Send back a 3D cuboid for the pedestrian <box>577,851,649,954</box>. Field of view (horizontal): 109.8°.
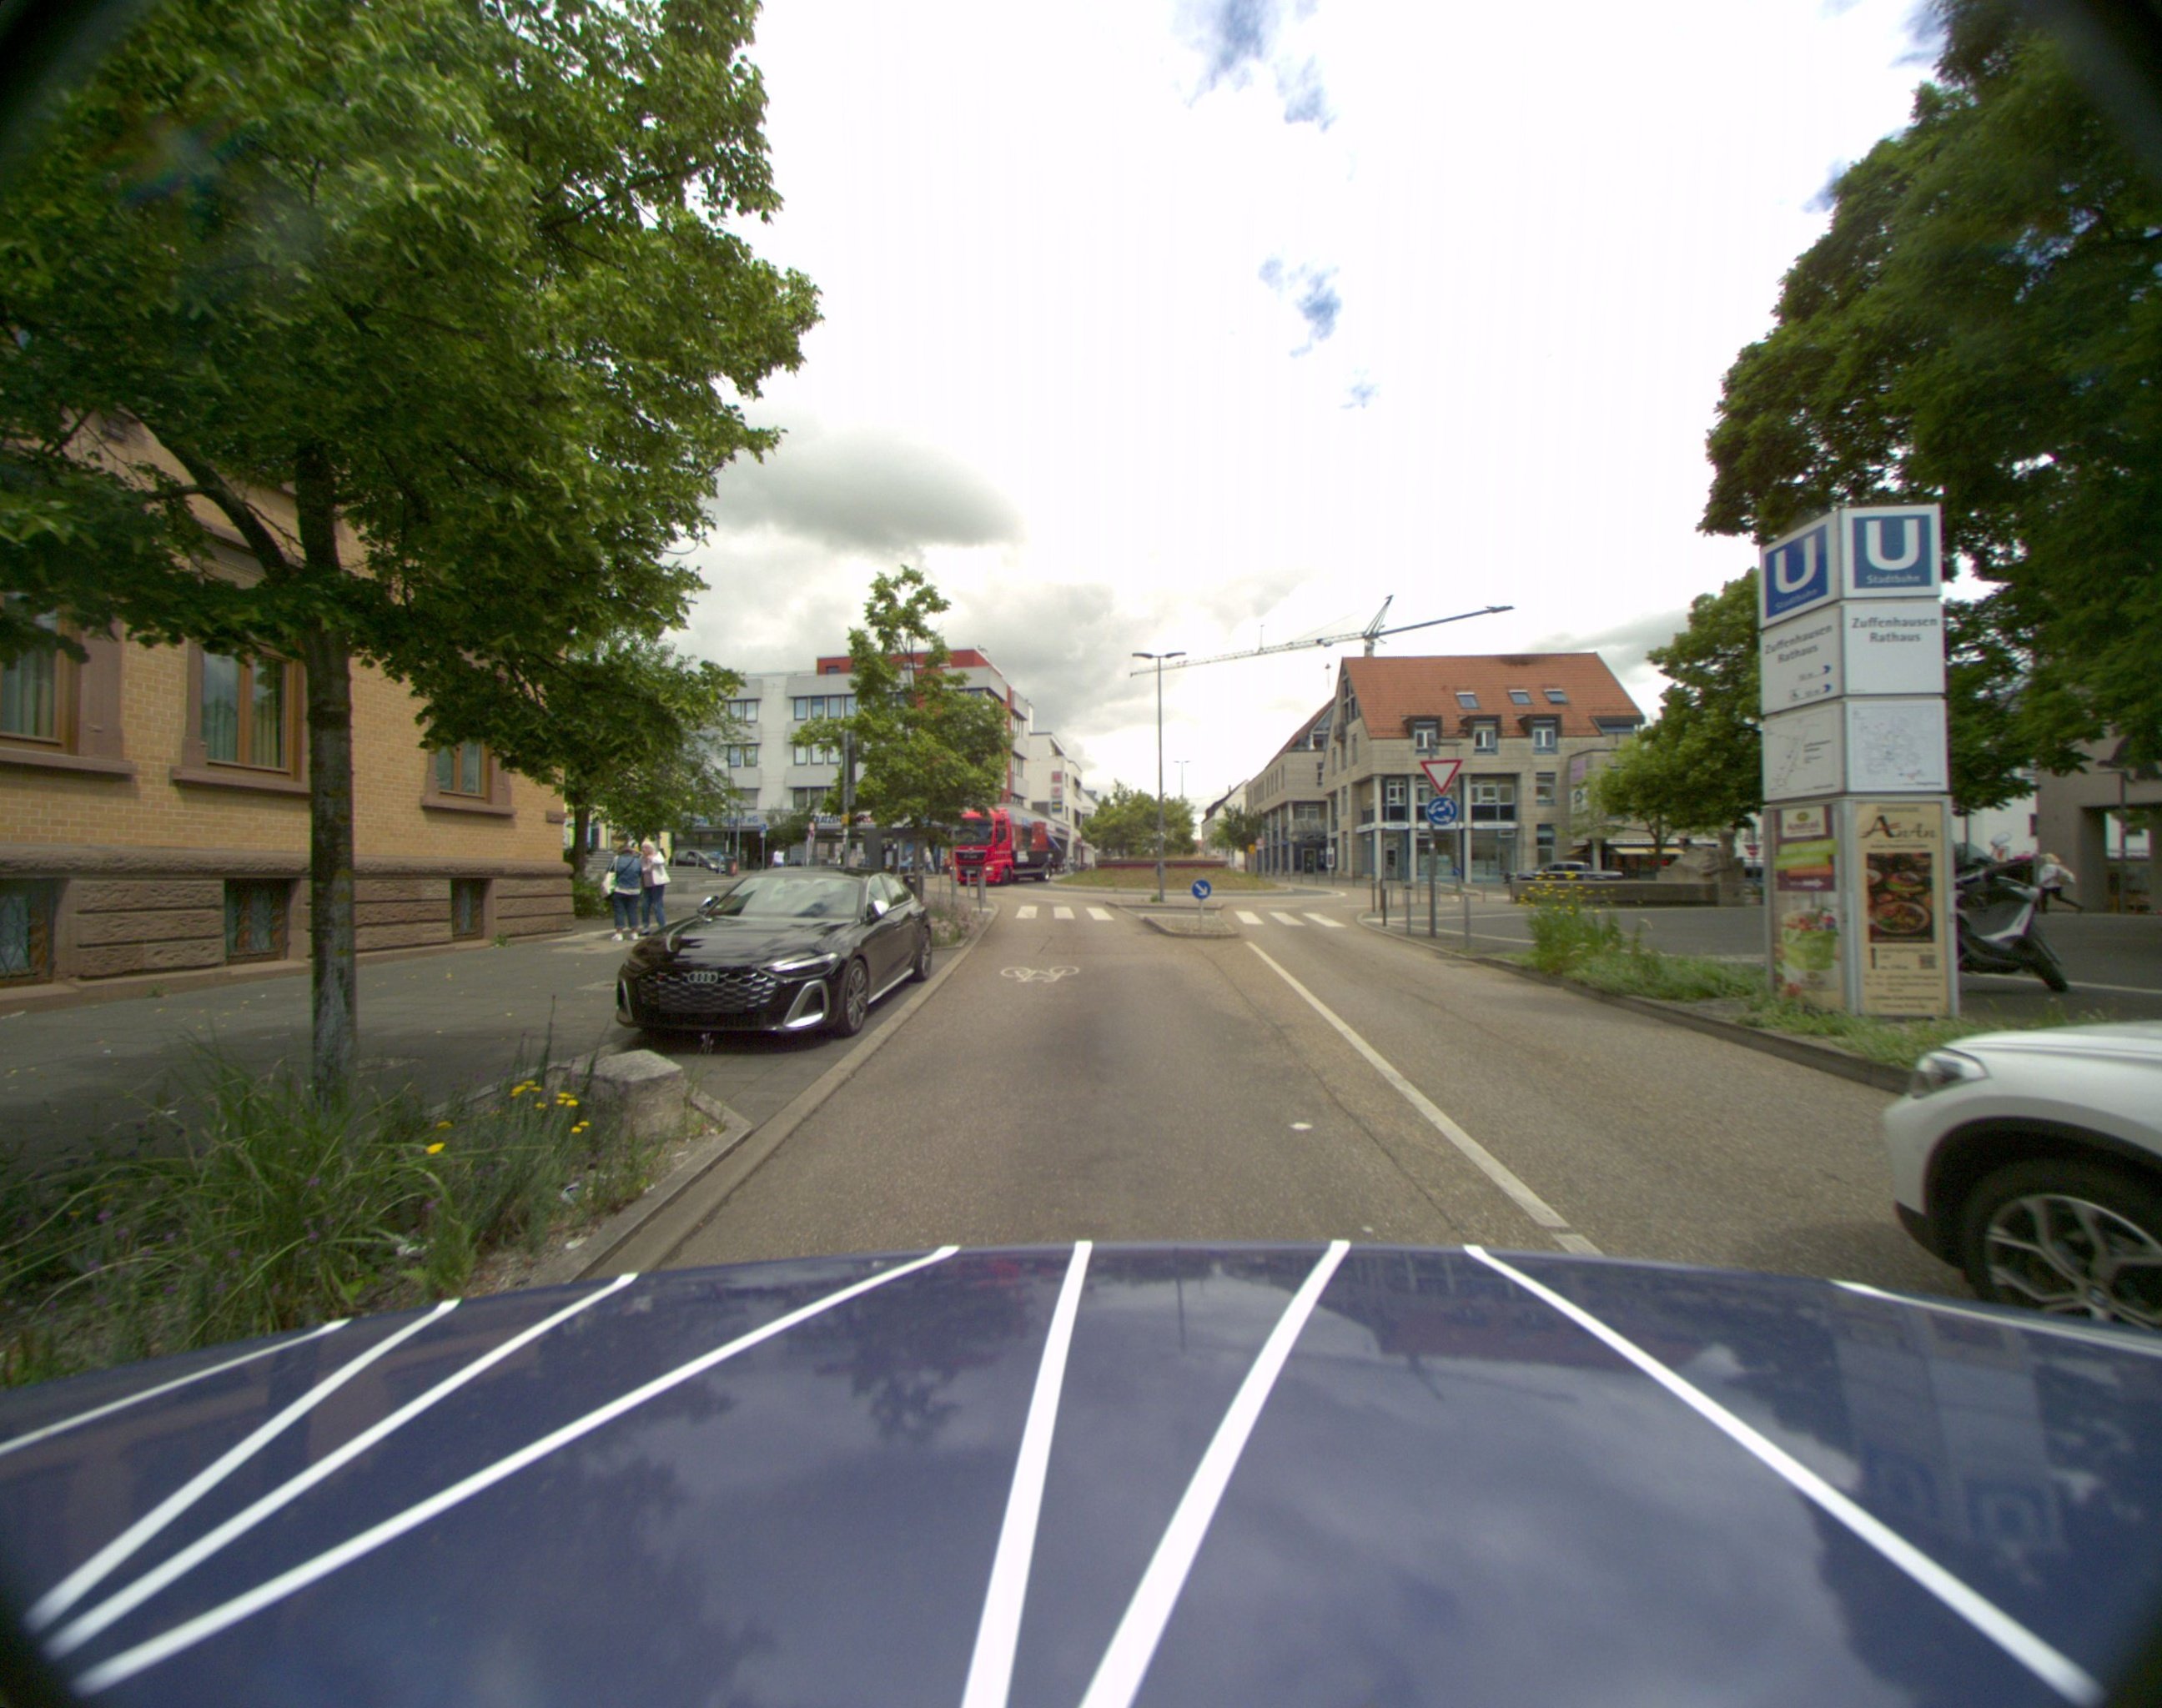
[{"bbox_3d":[-7.720,0.780,12.548,0.738,1.630,0.676,-1,1,25],"label":"pedestrian"}]

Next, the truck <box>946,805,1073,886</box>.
[{"bbox_3d":[-3.538,-0.491,41.585,2.677,3.821,10.861,-1,1,18],"label":"truck"}]

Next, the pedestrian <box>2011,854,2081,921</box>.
[{"bbox_3d":[24.695,0.850,19.451,0.690,1.665,0.817,-1,-1,-3],"label":"pedestrian"}]

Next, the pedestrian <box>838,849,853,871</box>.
[{"bbox_3d":[-17.267,0.445,55.711,0.684,1.574,0.767,-1,1,9],"label":"pedestrian"}]

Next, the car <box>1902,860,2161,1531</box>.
[{"bbox_3d":[3.352,0.796,0.249,1.826,1.575,4.166,-1,0,4],"label":"car"}]

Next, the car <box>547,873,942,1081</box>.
[{"bbox_3d":[-2.913,0.969,7.961,1.998,1.405,4.736,0,0,0],"label":"car"}]

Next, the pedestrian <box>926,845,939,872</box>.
[{"bbox_3d":[-10.463,0.325,53.536,0.684,1.902,0.767,-1,1,9],"label":"pedestrian"}]

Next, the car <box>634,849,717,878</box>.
[{"bbox_3d":[-24.735,0.552,46.421,3.995,1.641,2.001,-2,0,6],"label":"car"}]

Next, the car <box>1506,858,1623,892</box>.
[{"bbox_3d":[25.257,1.107,39.840,4.882,1.644,1.748,-1,1,16],"label":"car"}]

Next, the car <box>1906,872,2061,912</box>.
[{"bbox_3d":[37.836,1.581,31.939,4.070,1.530,1.747,-1,1,8],"label":"car"}]

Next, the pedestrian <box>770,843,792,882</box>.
[{"bbox_3d":[-13.592,0.372,34.442,0.768,1.721,0.751,-2,2,-32],"label":"pedestrian"}]

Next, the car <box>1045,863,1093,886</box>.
[{"bbox_3d":[-0.796,1.405,52.952,1.812,1.391,4.060,-1,1,24],"label":"car"}]

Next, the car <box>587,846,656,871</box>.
[{"bbox_3d":[-38.418,0.357,63.743,2.409,2.002,5.034,0,0,6],"label":"car"}]

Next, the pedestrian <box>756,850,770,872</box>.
[{"bbox_3d":[-25.594,0.585,61.151,0.684,1.765,0.767,-1,1,9],"label":"pedestrian"}]

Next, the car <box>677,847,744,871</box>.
[{"bbox_3d":[-25.952,0.341,53.221,3.825,1.554,1.820,-1,1,11],"label":"car"}]

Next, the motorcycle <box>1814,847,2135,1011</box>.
[{"bbox_3d":[8.217,0.667,7.043,2.194,1.441,0.648,0,1,-1],"label":"motorcycle"}]

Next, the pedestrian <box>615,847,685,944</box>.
[{"bbox_3d":[-7.558,0.708,13.344,0.697,1.649,0.741,-1,1,11],"label":"pedestrian"}]

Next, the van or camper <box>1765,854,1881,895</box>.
[{"bbox_3d":[45.290,1.234,46.491,2.002,2.368,4.666,0,0,-24],"label":"van or camper"}]
